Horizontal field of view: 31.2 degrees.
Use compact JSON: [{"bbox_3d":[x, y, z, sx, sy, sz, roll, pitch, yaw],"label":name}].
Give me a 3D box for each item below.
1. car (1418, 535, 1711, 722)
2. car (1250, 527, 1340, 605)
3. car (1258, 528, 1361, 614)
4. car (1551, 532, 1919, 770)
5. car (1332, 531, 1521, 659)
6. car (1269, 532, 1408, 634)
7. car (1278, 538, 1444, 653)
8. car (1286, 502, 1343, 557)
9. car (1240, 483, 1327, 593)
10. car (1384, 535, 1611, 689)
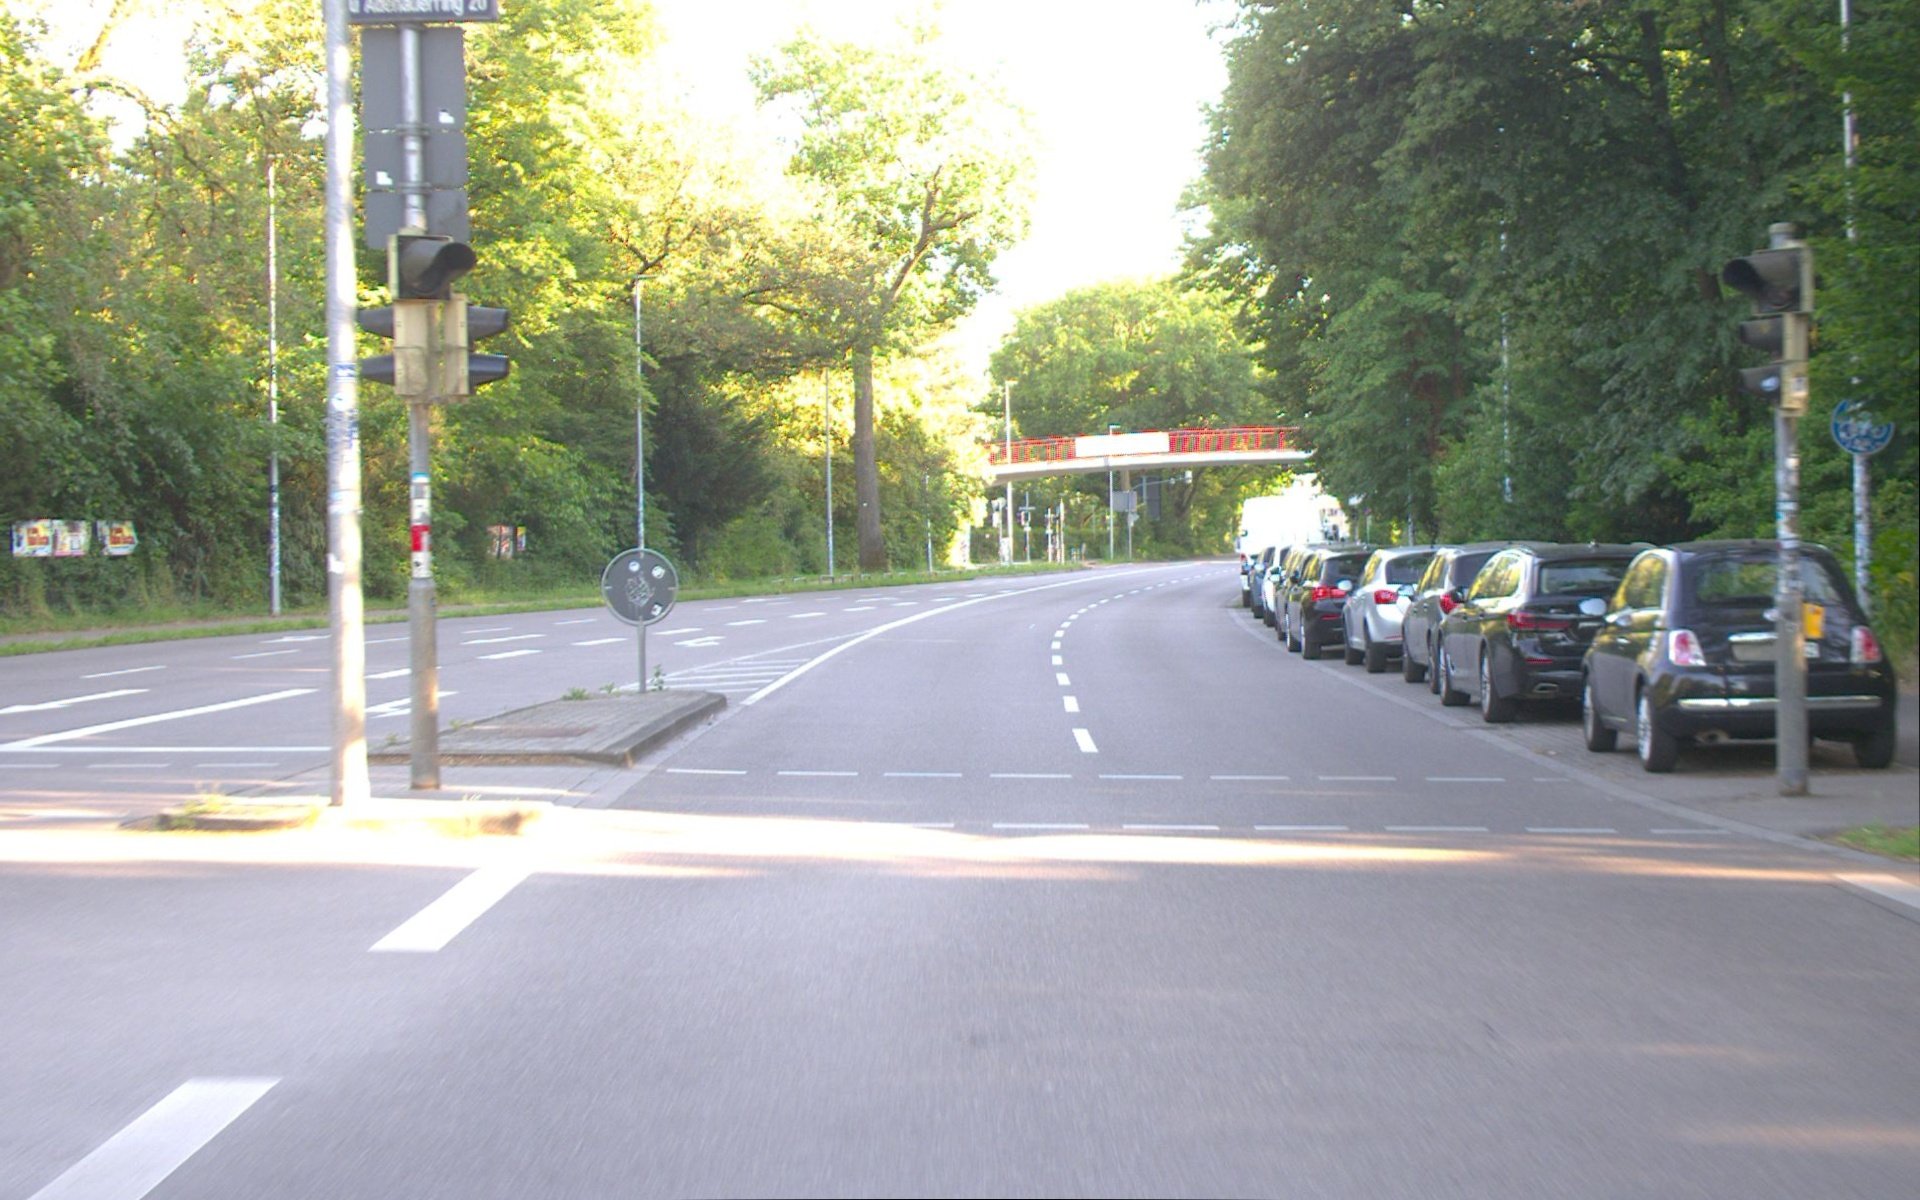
[{"bbox_3d":[5.181,0.191,30.063,1.718,1.464,4.988,-1,1,1],"label":"car"},{"bbox_3d":[6.577,-0.691,67.780,1.678,1.459,4.066,-1,1,5],"label":"car"},{"bbox_3d":[6.271,-0.540,61.984,1.677,1.459,3.688,-1,1,4],"label":"car"},{"bbox_3d":[5.227,0.294,23.633,1.718,1.464,3.756,-1,1,1],"label":"car"},{"bbox_3d":[5.484,-0.092,40.832,1.718,1.407,4.124,-1,1,1],"label":"car"},{"bbox_3d":[5.583,-0.279,51.163,1.718,1.407,4.487,-1,1,2],"label":"car"},{"bbox_3d":[5.284,-0.091,45.784,1.718,1.407,4.487,-1,1,1],"label":"car"},{"bbox_3d":[13.118,-2.598,127.113,1.869,1.974,5.473,-1,1,8],"label":"car"},{"bbox_3d":[7.502,-1.440,79.549,1.904,2.415,5.575,-1,1,6],"label":"car"},{"bbox_3d":[5.500,0.088,35.629,1.718,1.464,4.202,-1,1,1],"label":"car"}]
